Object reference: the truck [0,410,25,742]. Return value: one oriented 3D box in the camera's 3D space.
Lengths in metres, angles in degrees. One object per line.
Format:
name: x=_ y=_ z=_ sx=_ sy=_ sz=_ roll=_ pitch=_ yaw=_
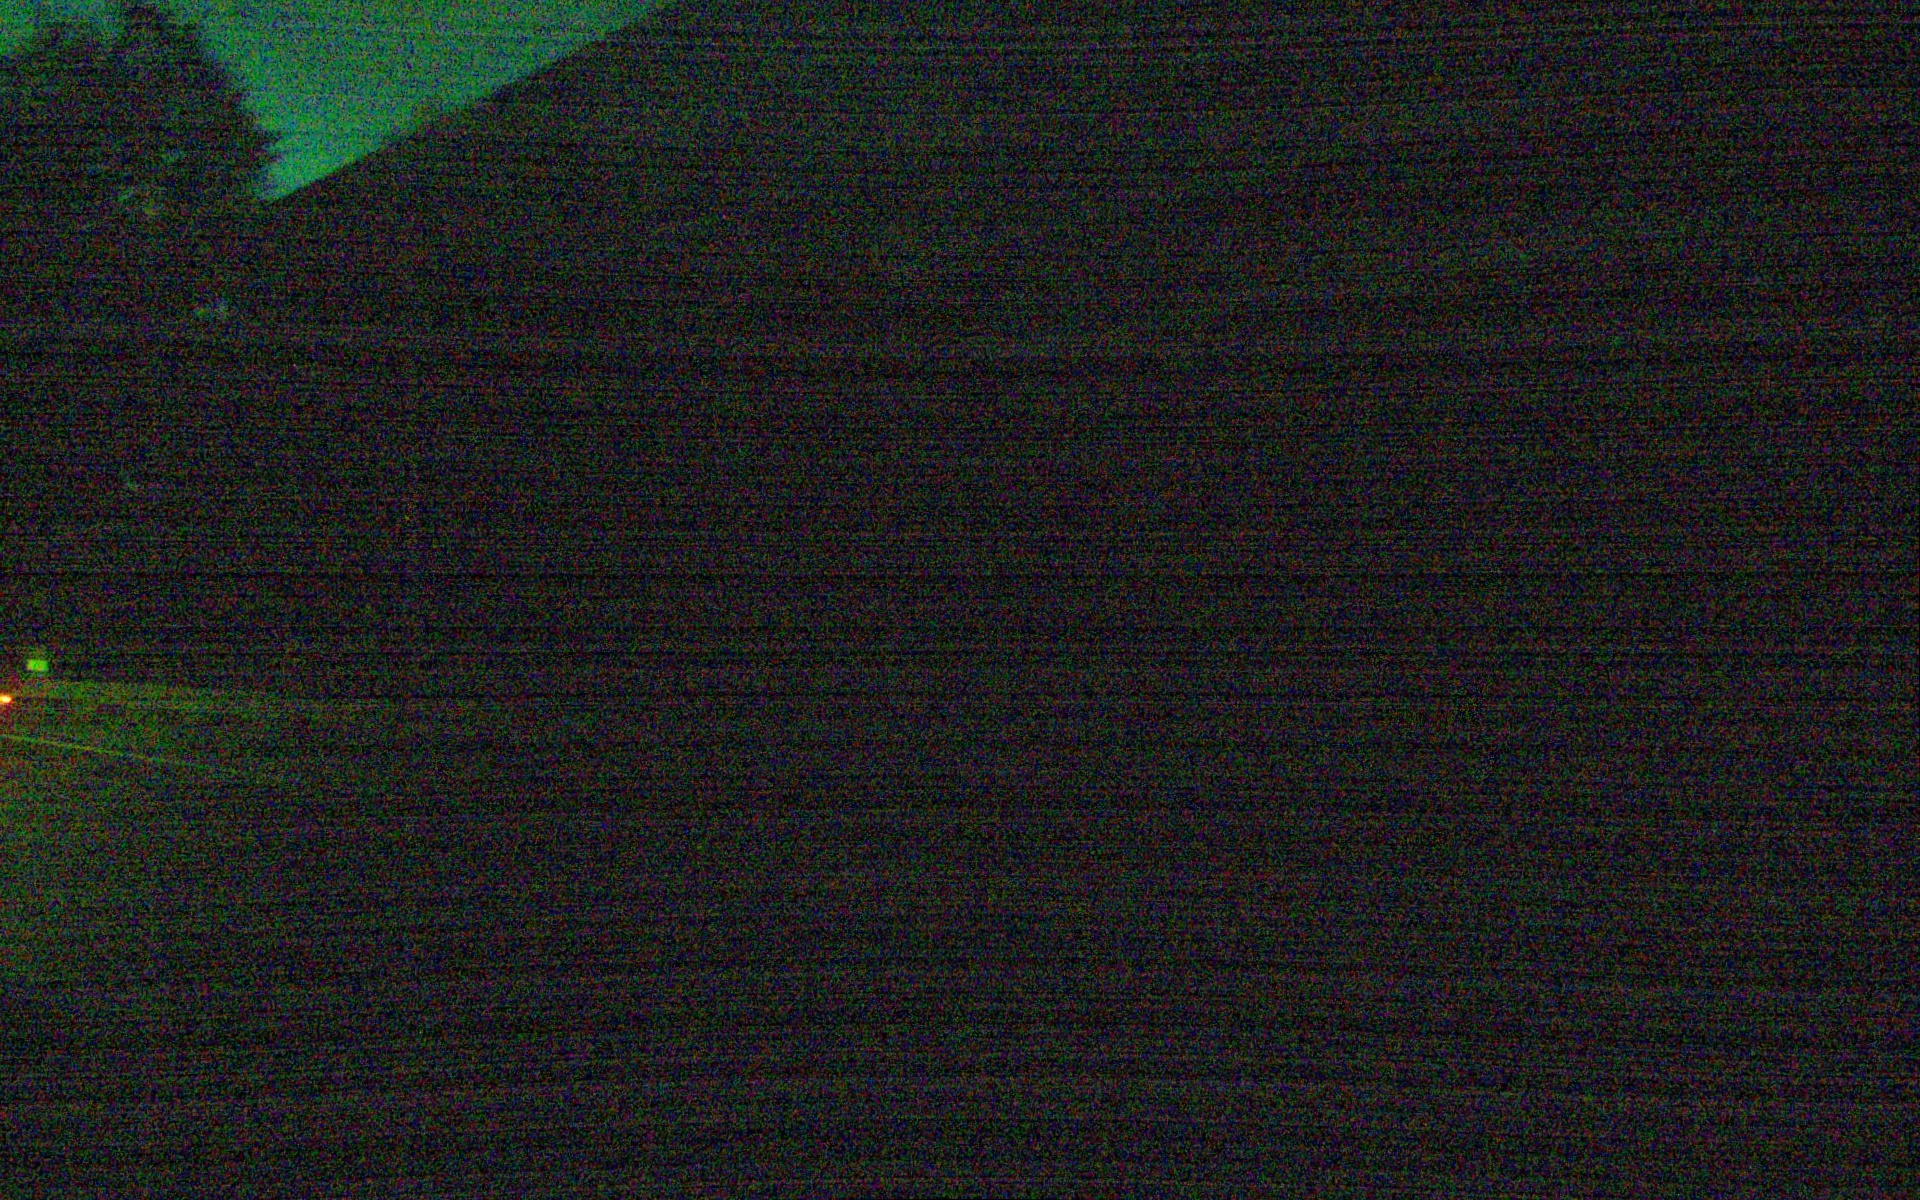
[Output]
truck: x=-18.094 y=-0.201 z=15.065 sx=12.953 sy=4.159 sz=2.683 roll=-1 pitch=-1 yaw=32
